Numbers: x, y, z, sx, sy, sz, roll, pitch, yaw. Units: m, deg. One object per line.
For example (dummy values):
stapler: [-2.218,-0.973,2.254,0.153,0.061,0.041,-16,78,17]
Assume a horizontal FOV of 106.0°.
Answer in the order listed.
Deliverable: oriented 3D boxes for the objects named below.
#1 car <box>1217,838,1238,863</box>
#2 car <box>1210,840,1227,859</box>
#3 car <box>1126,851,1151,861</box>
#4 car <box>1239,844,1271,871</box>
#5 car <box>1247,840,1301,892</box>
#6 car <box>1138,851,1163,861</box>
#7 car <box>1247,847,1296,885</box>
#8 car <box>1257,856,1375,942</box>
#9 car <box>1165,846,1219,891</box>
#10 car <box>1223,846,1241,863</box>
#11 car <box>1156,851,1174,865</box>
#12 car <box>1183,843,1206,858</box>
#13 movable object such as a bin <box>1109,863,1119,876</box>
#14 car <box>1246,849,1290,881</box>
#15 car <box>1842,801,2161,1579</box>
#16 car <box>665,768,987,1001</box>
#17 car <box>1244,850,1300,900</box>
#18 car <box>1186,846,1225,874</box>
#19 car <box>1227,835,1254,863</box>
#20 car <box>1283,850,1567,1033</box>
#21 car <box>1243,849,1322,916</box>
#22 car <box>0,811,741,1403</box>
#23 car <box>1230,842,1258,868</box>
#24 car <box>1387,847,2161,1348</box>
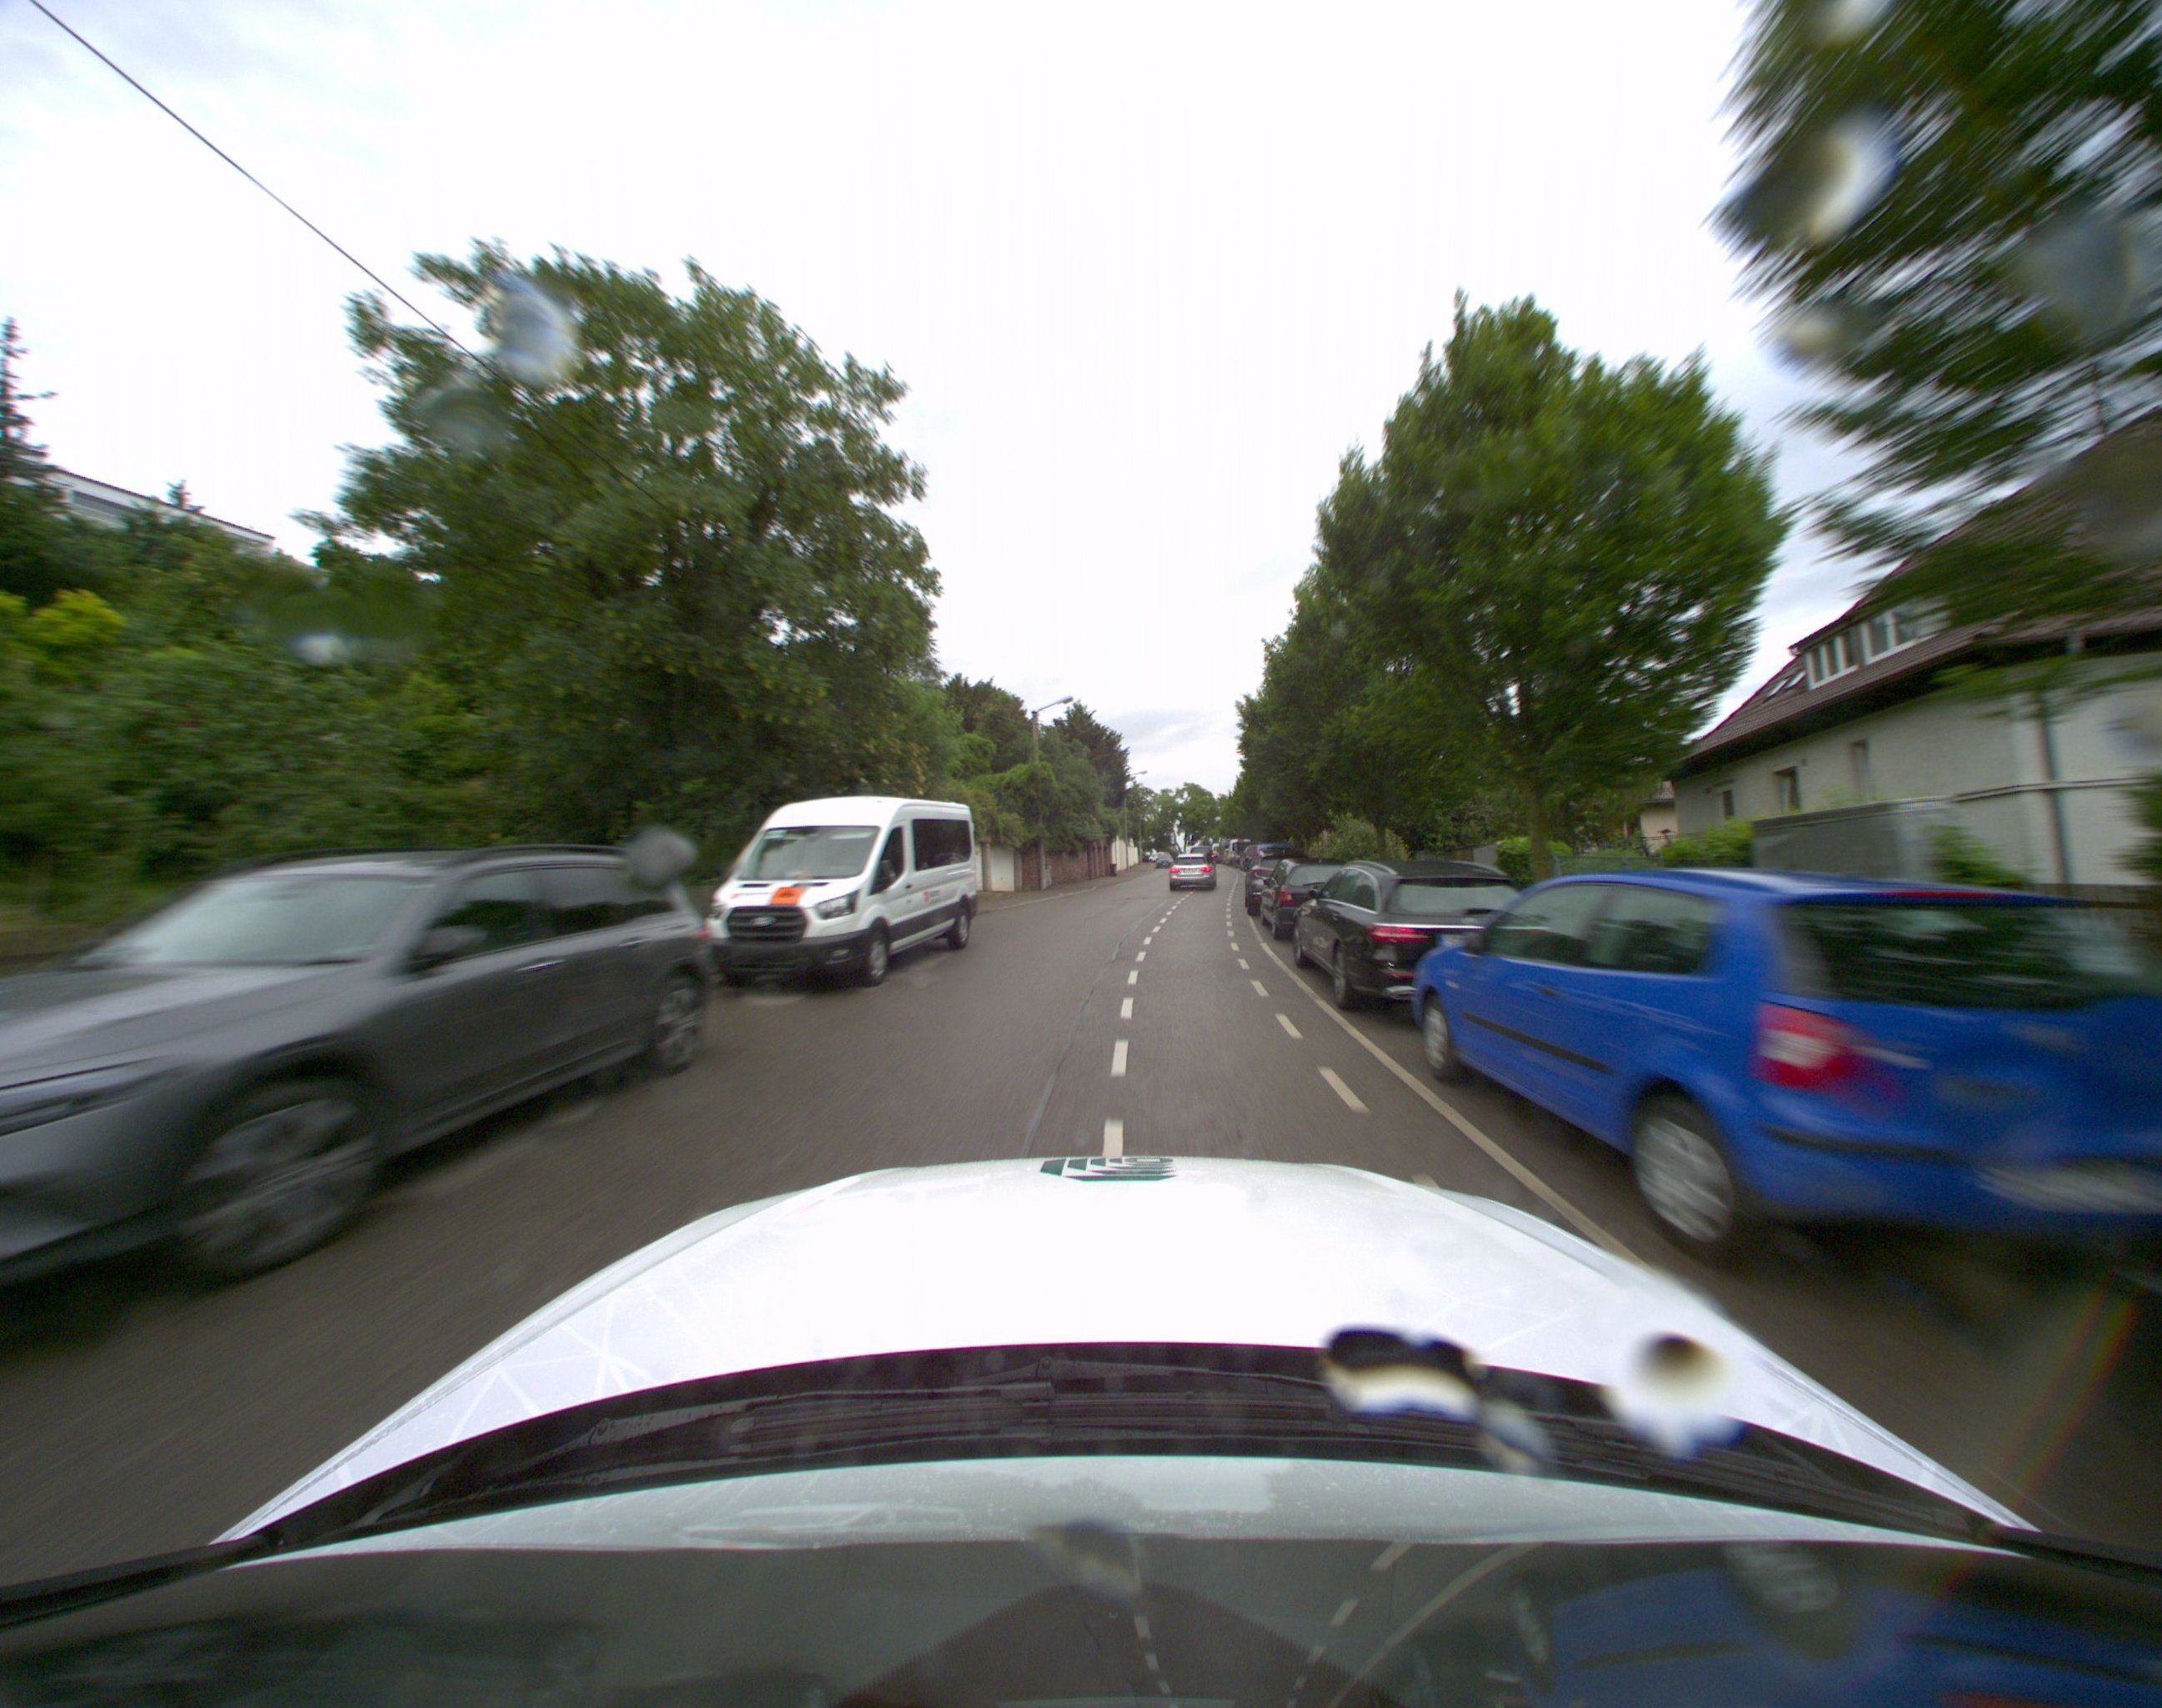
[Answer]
car: [17.361,-0.404,96.637,2.113,2.887,5.779,0,0,6]
car: [18.963,-0.598,112.437,2.053,2.494,4.769,0,0,7]
car: [10.648,0.386,150.702,1.980,1.697,4.617,0,0,-38]
car: [12.127,0.239,57.025,1.771,1.783,4.688,-2,0,7]
car: [7.338,0.417,31.246,1.767,1.852,4.438,-1,0,10]
car: [12.689,0.355,148.248,1.981,1.697,4.442,0,0,-42]
car: [8.487,0.500,36.640,1.773,1.609,4.234,-1,0,8]
car: [4.409,0.761,15.845,1.634,1.424,4.297,0,0,8]
car: [4.664,0.567,33.795,2.013,1.708,4.227,-2,0,10]
car: [16.737,0.082,90.592,1.718,1.785,4.285,2,1,7]
car: [8.724,0.385,84.230,1.739,1.357,4.433,-4,0,6]
car: [18.953,-0.550,135.979,2.131,2.527,4.470,0,0,-18]
movable object such as a bin: [2.449,1.155,61.011,0.654,0.919,0.679,-2,0,10]
car: [9.439,0.512,41.377,1.981,1.537,4.865,-1,0,11]
car: [2.943,0.662,0.803,1.620,1.563,3.024,0,-1,2]
car: [-3.227,0.338,12.148,2.082,2.550,6.111,-2,0,8]
car: [6.114,0.617,26.244,1.637,1.481,4.033,-1,0,12]
car: [7.981,0.394,52.344,1.986,1.708,4.001,-1,-1,2]
car: [15.164,-0.472,77.710,2.162,2.493,6.047,0,0,8]
car: [3.530,0.746,9.358,1.766,1.553,4.737,0,0,7]
car: [5.099,0.647,21.064,1.703,1.556,4.176,1,0,10]
car: [-3.927,0.768,4.626,1.888,1.691,4.548,-2,0,2]
car: [14.015,0.089,70.143,1.983,2.052,5.131,-1,0,7]
car: [3.165,0.748,4.484,1.647,1.519,4.003,0,0,3]
